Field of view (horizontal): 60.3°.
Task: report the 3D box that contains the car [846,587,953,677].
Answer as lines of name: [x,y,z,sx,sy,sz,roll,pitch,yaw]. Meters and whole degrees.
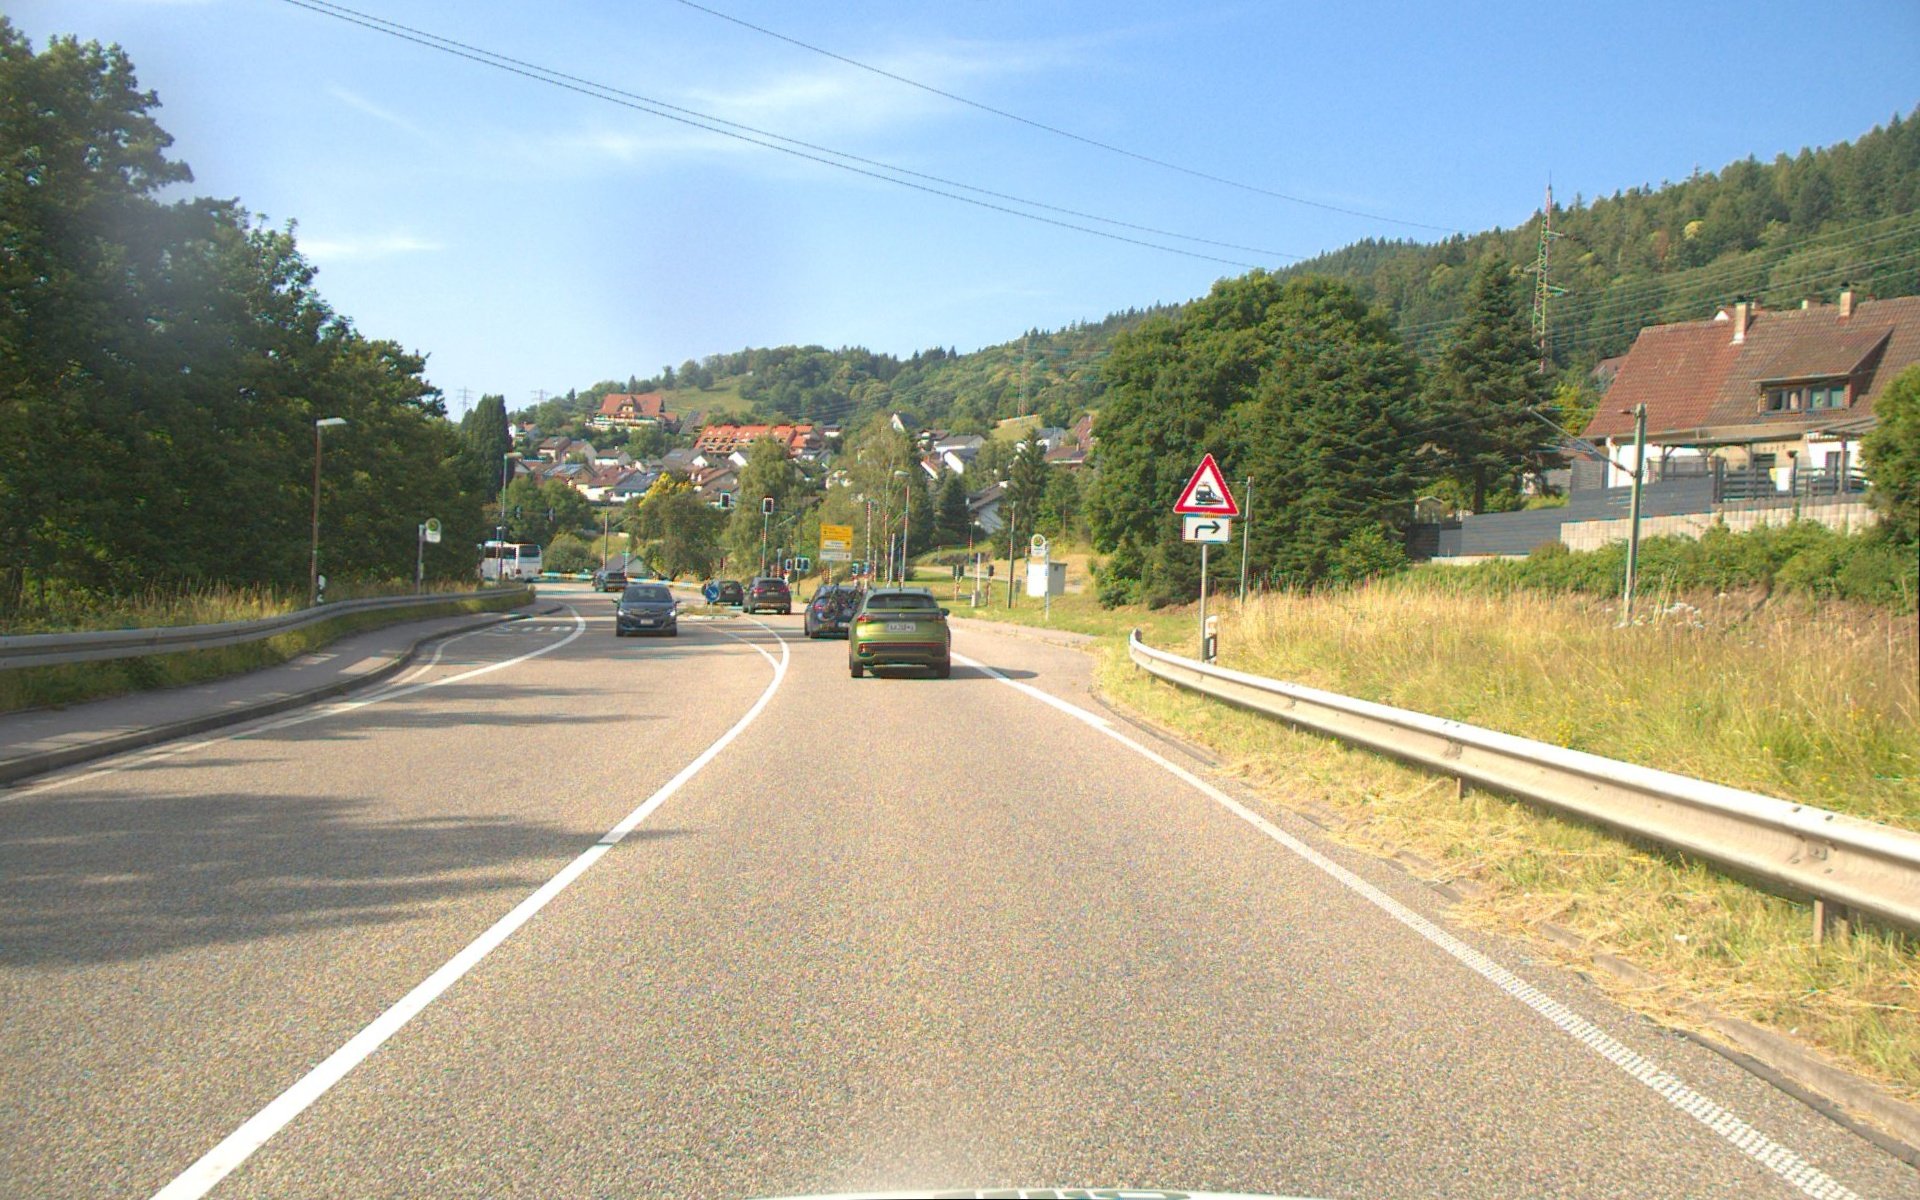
car: [-1.126,0.517,29.121,1.681,1.480,3.996,0,0,-5]

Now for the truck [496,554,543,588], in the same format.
truck: [-42.489,-2.766,159.592,2.686,3.138,6.042,1,0,-32]

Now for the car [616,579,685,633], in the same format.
car: [-9.088,0.162,48.839,1.856,1.514,3.992,0,0,-9]

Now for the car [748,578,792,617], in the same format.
car: [-8.684,-0.132,75.498,1.845,1.716,3.992,1,0,-8]

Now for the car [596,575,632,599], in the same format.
car: [-27.645,-1.062,132.113,2.036,1.843,3.971,0,0,-23]

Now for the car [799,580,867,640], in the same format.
car: [-3.595,0.262,46.368,1.636,1.586,3.993,1,0,-8]

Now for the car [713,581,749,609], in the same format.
car: [-13.000,-0.310,93.818,1.816,1.553,3.653,-1,1,-11]
